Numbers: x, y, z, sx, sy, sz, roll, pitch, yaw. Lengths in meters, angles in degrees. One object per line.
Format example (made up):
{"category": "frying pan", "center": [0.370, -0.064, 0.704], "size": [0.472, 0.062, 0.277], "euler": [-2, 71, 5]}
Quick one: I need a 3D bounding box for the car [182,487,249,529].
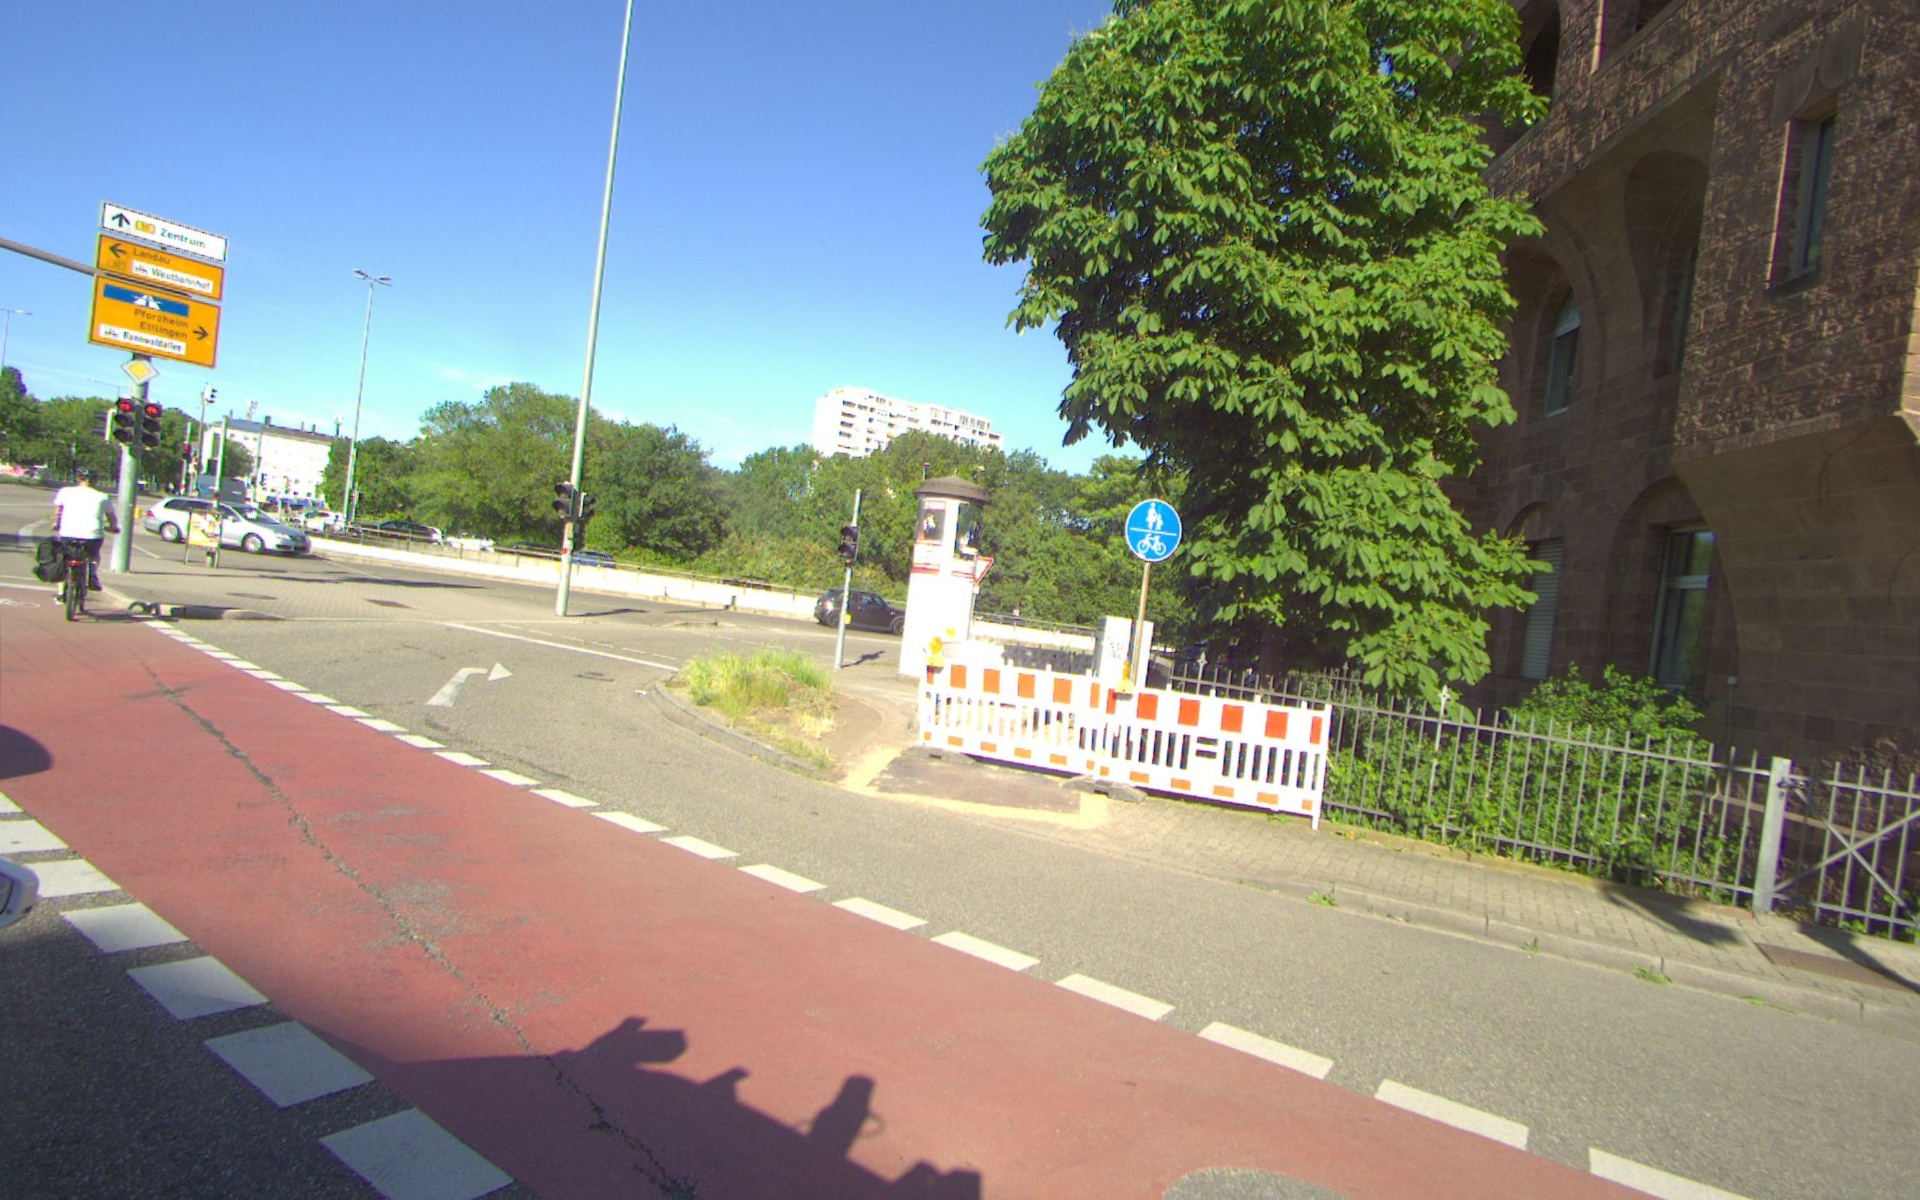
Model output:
{"category": "car", "center": [-55.000, -6.825, 74.263], "size": [4.808, 2.638, 2.257], "euler": [5, -2, 33]}

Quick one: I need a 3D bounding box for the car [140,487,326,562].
{"category": "car", "center": [-22.209, -2.268, 30.848], "size": [4.271, 1.512, 1.756], "euler": [9, 1, -1]}

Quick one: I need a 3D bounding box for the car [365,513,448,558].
{"category": "car", "center": [-33.548, -3.888, 61.079], "size": [3.943, 2.037, 1.992], "euler": [7, -2, -20]}

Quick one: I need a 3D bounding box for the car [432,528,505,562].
{"category": "car", "center": [-33.750, -3.762, 69.161], "size": [3.931, 1.770, 1.998], "euler": [6, -2, -9]}

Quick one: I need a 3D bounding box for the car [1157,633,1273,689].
{"category": "car", "center": [9.377, 2.238, 36.903], "size": [3.960, 1.512, 1.741], "euler": [8, 0, -32]}

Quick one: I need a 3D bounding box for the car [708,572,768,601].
{"category": "car", "center": [-16.559, -0.965, 75.001], "size": [3.946, 1.681, 1.991], "euler": [7, -2, -22]}

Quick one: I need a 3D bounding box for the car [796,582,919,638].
{"category": "car", "center": [-3.723, 0.367, 36.515], "size": [3.947, 1.471, 1.988], "euler": [7, 1, -23]}

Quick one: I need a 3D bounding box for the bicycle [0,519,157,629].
{"category": "bicycle", "center": [-10.867, -0.339, 12.328], "size": [0.791, 1.124, 2.390], "euler": [8, 0, -21]}

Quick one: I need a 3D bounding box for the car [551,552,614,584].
{"category": "car", "center": [-26.535, -2.241, 70.841], "size": [3.940, 1.703, 1.851], "euler": [7, -2, -17]}

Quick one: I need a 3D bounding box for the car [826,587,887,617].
{"category": "car", "center": [-8.062, 0.182, 78.617], "size": [4.203, 1.876, 2.010], "euler": [7, -2, -22]}

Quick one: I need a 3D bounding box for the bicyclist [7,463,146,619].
{"category": "bicyclist", "center": [-10.834, -0.715, 12.384], "size": [0.791, 1.726, 1.079], "euler": [8, 1, -21]}

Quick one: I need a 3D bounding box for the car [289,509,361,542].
{"category": "car", "center": [-43.785, -5.125, 69.383], "size": [3.924, 1.770, 2.002], "euler": [5, -2, 17]}
